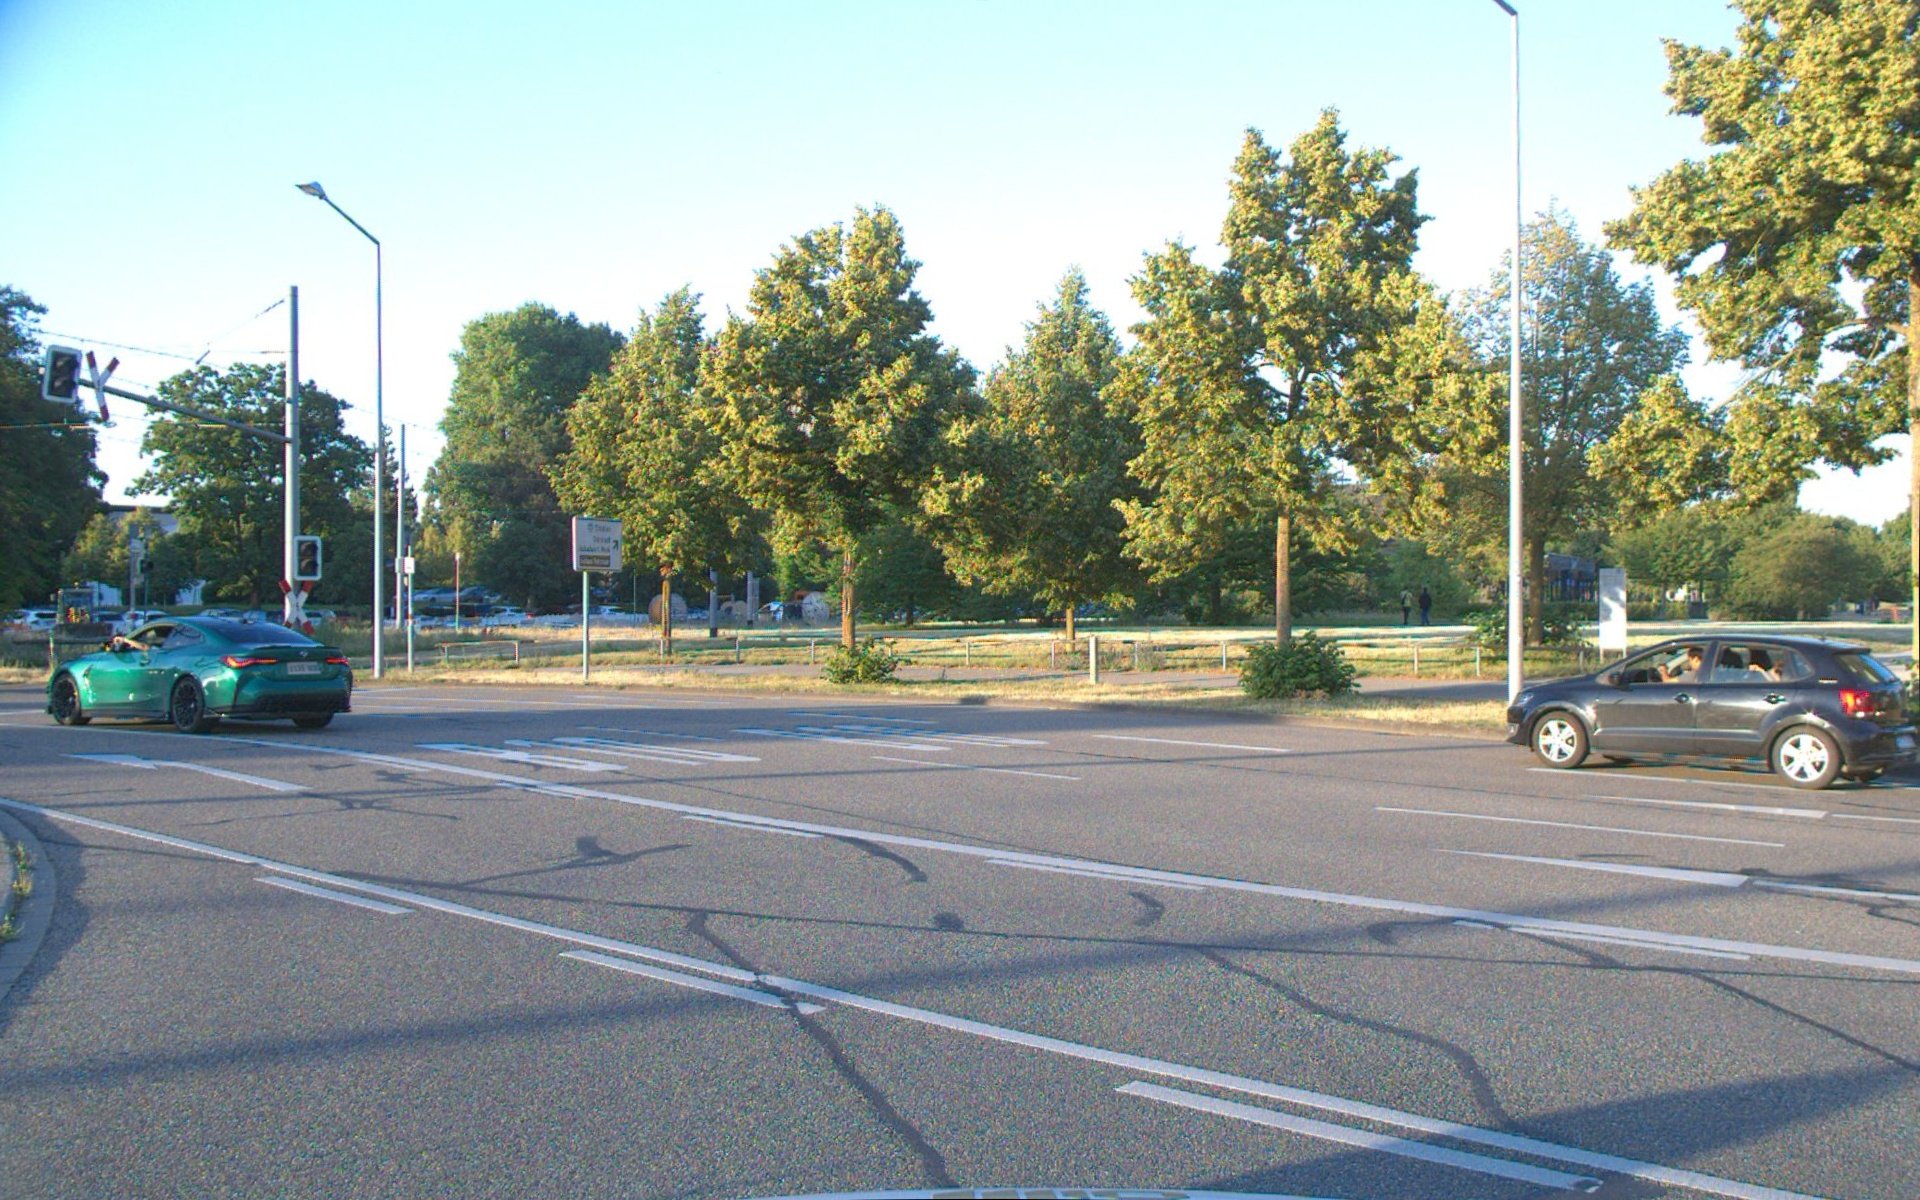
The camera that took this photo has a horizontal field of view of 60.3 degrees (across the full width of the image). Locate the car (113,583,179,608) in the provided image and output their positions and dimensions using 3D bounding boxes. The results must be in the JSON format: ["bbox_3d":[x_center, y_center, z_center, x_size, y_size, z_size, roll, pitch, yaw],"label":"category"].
[{"bbox_3d":[-67.088,-0.386,136.339,1.958,2.049,4.585,0,0,33],"label":"car"}]

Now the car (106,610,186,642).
[{"bbox_3d":[-42.231,1.333,85.784,3.915,1.632,1.995,0,0,32],"label":"car"}]

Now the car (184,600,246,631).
[{"bbox_3d":[-52.035,1.064,115.526,3.939,2.049,1.983,0,0,-27],"label":"car"}]

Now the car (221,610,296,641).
[{"bbox_3d":[-39.063,1.413,92.041,3.915,1.632,1.995,0,0,32],"label":"car"}]

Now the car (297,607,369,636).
[{"bbox_3d":[-36.419,1.210,96.084,3.915,1.632,1.995,0,0,32],"label":"car"}]

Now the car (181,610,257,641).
[{"bbox_3d":[-40.506,1.382,90.373,3.915,1.632,1.995,0,0,32],"label":"car"}]

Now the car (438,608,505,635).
[{"bbox_3d":[-30.950,1.340,104.681,3.915,1.632,1.995,0,0,32],"label":"car"}]

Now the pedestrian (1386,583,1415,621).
[{"bbox_3d":[19.185,0.084,72.012,1.047,1.646,0.911,0,0,2],"label":"pedestrian"}]

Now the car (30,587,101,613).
[{"bbox_3d":[-70.505,0.003,130.464,1.956,2.049,4.590,0,0,29],"label":"car"}]

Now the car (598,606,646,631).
[{"bbox_3d":[-26.335,1.411,128.875,1.979,1.782,4.538,0,1,-37],"label":"car"}]

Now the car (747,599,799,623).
[{"bbox_3d":[-12.975,0.775,114.666,1.724,1.646,3.940,0,0,-41],"label":"car"}]

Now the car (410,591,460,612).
[{"bbox_3d":[-47.920,0.138,151.061,1.959,1.847,3.987,0,0,34],"label":"car"}]

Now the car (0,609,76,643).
[{"bbox_3d":[-45.601,1.257,81.431,3.915,1.632,1.995,0,0,32],"label":"car"}]

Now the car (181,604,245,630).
[{"bbox_3d":[-50.533,1.131,111.868,3.939,1.691,1.983,0,0,-27],"label":"car"}]

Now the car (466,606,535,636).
[{"bbox_3d":[-32.497,1.459,117.151,4.499,2.049,1.996,0,0,-9],"label":"car"}]

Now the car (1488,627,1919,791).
[{"bbox_3d":[7.597,1.007,16.836,1.682,1.378,3.935,-1,1,-44],"label":"car"}]

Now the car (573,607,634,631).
[{"bbox_3d":[-24.873,1.339,115.419,3.915,1.632,1.995,0,0,32],"label":"car"}]

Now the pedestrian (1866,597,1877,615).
[{"bbox_3d":[84.968,0.592,154.133,0.835,1.690,0.978,0,0,25],"label":"pedestrian"}]

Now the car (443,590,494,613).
[{"bbox_3d":[-44.058,0.133,148.233,1.963,2.049,3.979,0,0,40],"label":"car"}]

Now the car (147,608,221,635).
[{"bbox_3d":[-50.204,1.391,107.081,1.863,1.691,3.987,0,0,34],"label":"car"}]

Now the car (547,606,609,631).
[{"bbox_3d":[-26.242,1.253,113.670,3.915,1.632,1.995,0,0,32],"label":"car"}]

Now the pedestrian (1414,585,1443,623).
[{"bbox_3d":[20.297,0.182,71.646,1.047,1.646,0.911,0,0,2],"label":"pedestrian"}]

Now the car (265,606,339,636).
[{"bbox_3d":[-37.363,1.185,93.866,3.915,1.632,1.995,0,0,32],"label":"car"}]

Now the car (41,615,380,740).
[{"bbox_3d":[-9.690,0.910,21.245,4.641,1.395,1.992,0,0,37],"label":"car"}]

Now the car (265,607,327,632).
[{"bbox_3d":[-45.789,1.341,114.109,3.933,1.691,1.889,0,0,-23],"label":"car"}]

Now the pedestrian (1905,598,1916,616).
[{"bbox_3d":[88.431,0.650,153.883,0.836,1.690,0.977,0,0,29],"label":"pedestrian"}]

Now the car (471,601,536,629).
[{"bbox_3d":[-34.565,1.104,125.259,4.499,2.049,1.996,0,0,-9],"label":"car"}]

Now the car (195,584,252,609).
[{"bbox_3d":[-63.345,-0.299,142.360,1.958,2.049,4.105,0,0,33],"label":"car"}]

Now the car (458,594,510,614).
[{"bbox_3d":[-41.658,0.319,144.721,3.902,1.736,2.001,0,0,6],"label":"car"}]
